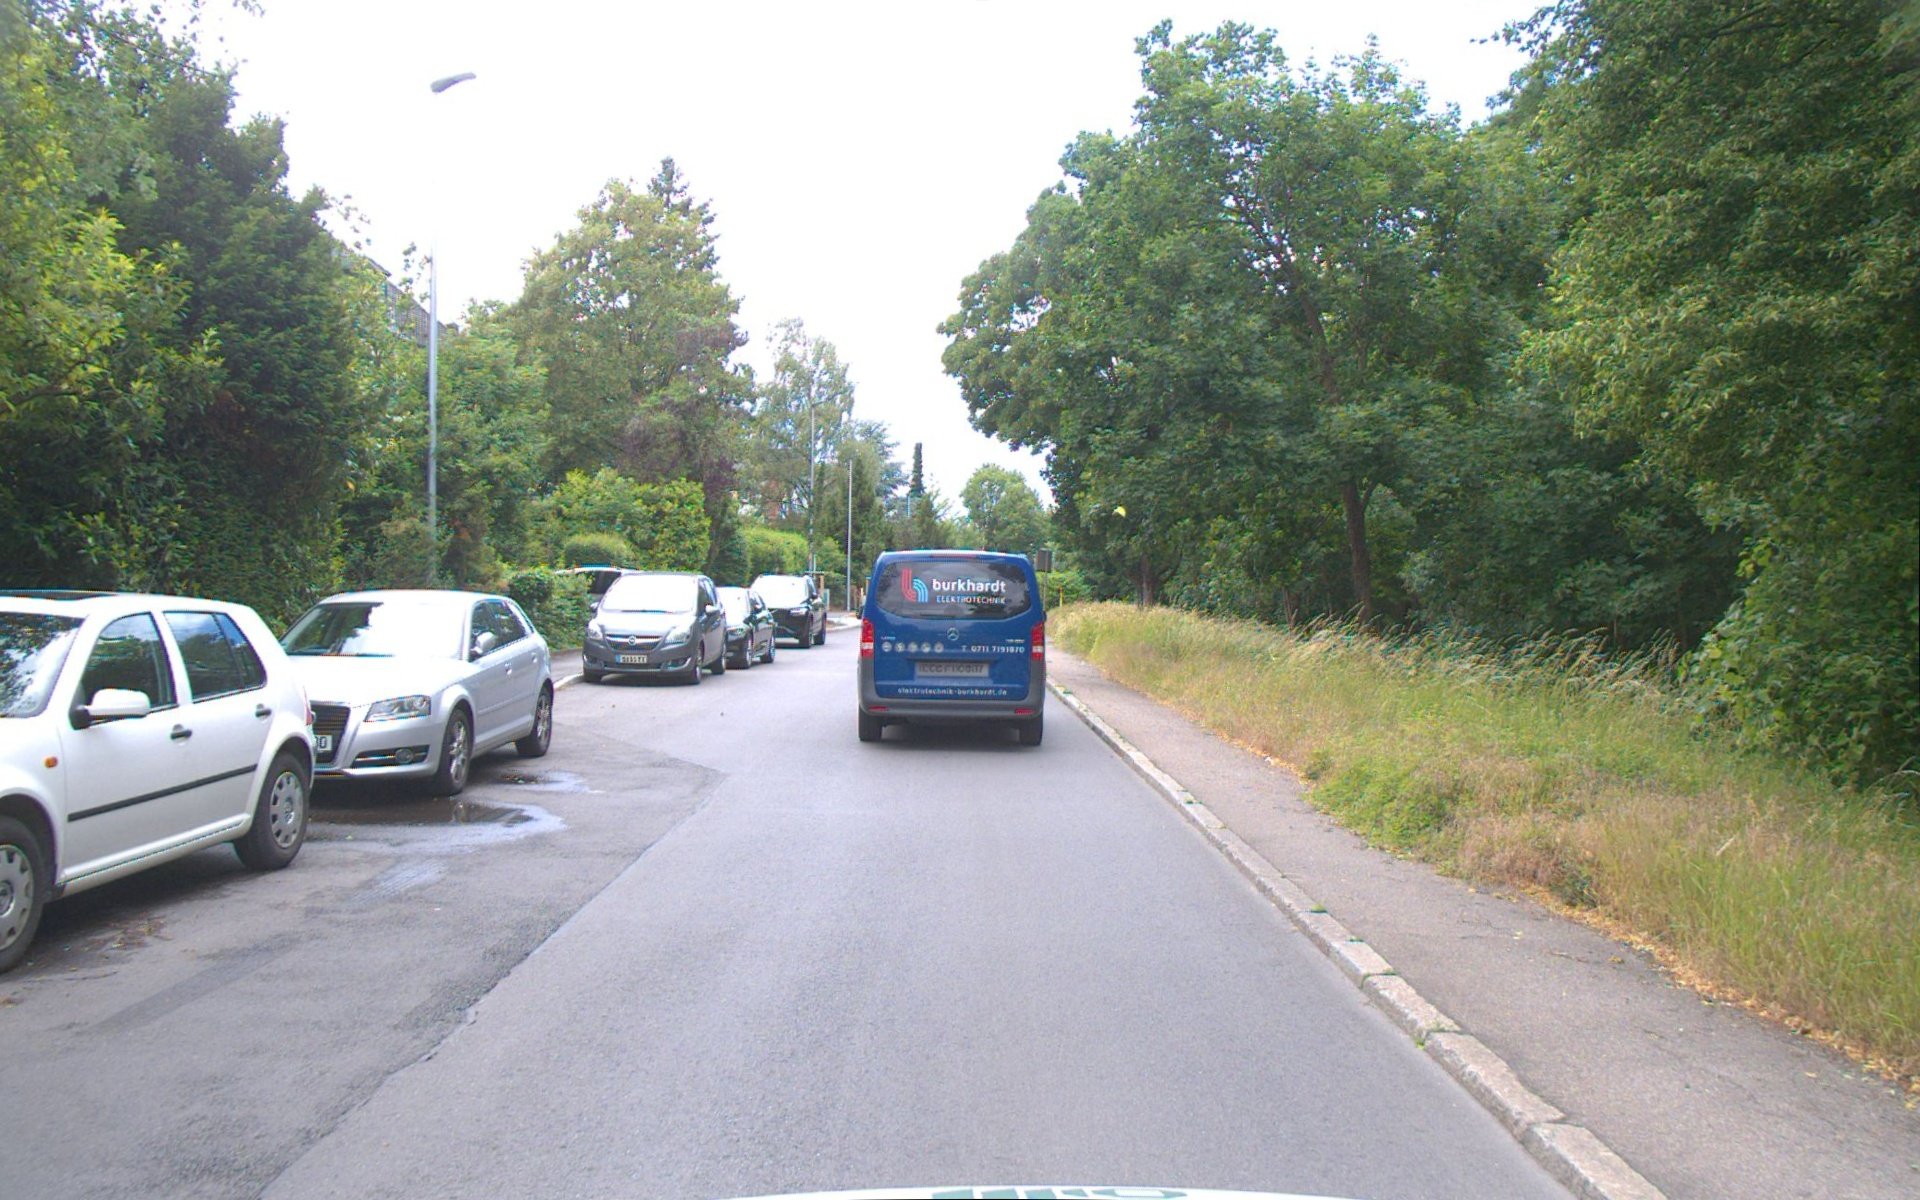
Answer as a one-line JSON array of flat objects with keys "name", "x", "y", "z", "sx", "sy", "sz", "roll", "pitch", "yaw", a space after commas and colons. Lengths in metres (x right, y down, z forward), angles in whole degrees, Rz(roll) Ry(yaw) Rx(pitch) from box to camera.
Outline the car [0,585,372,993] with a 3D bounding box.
[{"name": "car", "x": -4.301, "y": 0.677, "z": 7.551, "sx": 1.625, "sy": 1.478, "sz": 4.382, "roll": 0, "pitch": 1, "yaw": 1}]

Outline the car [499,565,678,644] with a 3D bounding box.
[{"name": "car", "x": -8.705, "y": 0.092, "z": 38.844, "sx": 3.613, "sy": 1.666, "sz": 1.830, "roll": 2, "pitch": 0, "yaw": 13}]

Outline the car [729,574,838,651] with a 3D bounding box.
[{"name": "car", "x": -4.363, "y": 0.284, "z": 41.732, "sx": 1.933, "sy": 1.767, "sz": 5.191, "roll": 2, "pitch": 0, "yaw": 2}]

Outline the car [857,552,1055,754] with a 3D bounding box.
[{"name": "car", "x": -0.146, "y": 0.457, "z": 17.457, "sx": 1.851, "sy": 1.876, "sz": 3.998, "roll": 0, "pitch": 1, "yaw": -3}]

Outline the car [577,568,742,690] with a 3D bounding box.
[{"name": "car", "x": -4.531, "y": 0.395, "z": 25.557, "sx": 1.696, "sy": 1.661, "sz": 4.568, "roll": 2, "pitch": 0, "yaw": -1}]

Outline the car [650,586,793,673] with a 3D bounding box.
[{"name": "car", "x": -4.373, "y": 0.502, "z": 31.007, "sx": 1.718, "sy": 1.437, "sz": 4.900, "roll": 2, "pitch": 0, "yaw": 2}]

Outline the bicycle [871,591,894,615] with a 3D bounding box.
[{"name": "bicycle", "x": -4.189, "y": 0.162, "z": 90.123, "sx": 0.887, "sy": 1.273, "sz": 2.917, "roll": 3, "pitch": 0, "yaw": 3}]

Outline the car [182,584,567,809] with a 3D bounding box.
[{"name": "car", "x": -4.335, "y": 0.625, "z": 12.922, "sx": 1.590, "sy": 1.475, "sz": 4.093, "roll": 0, "pitch": 0, "yaw": -1}]
